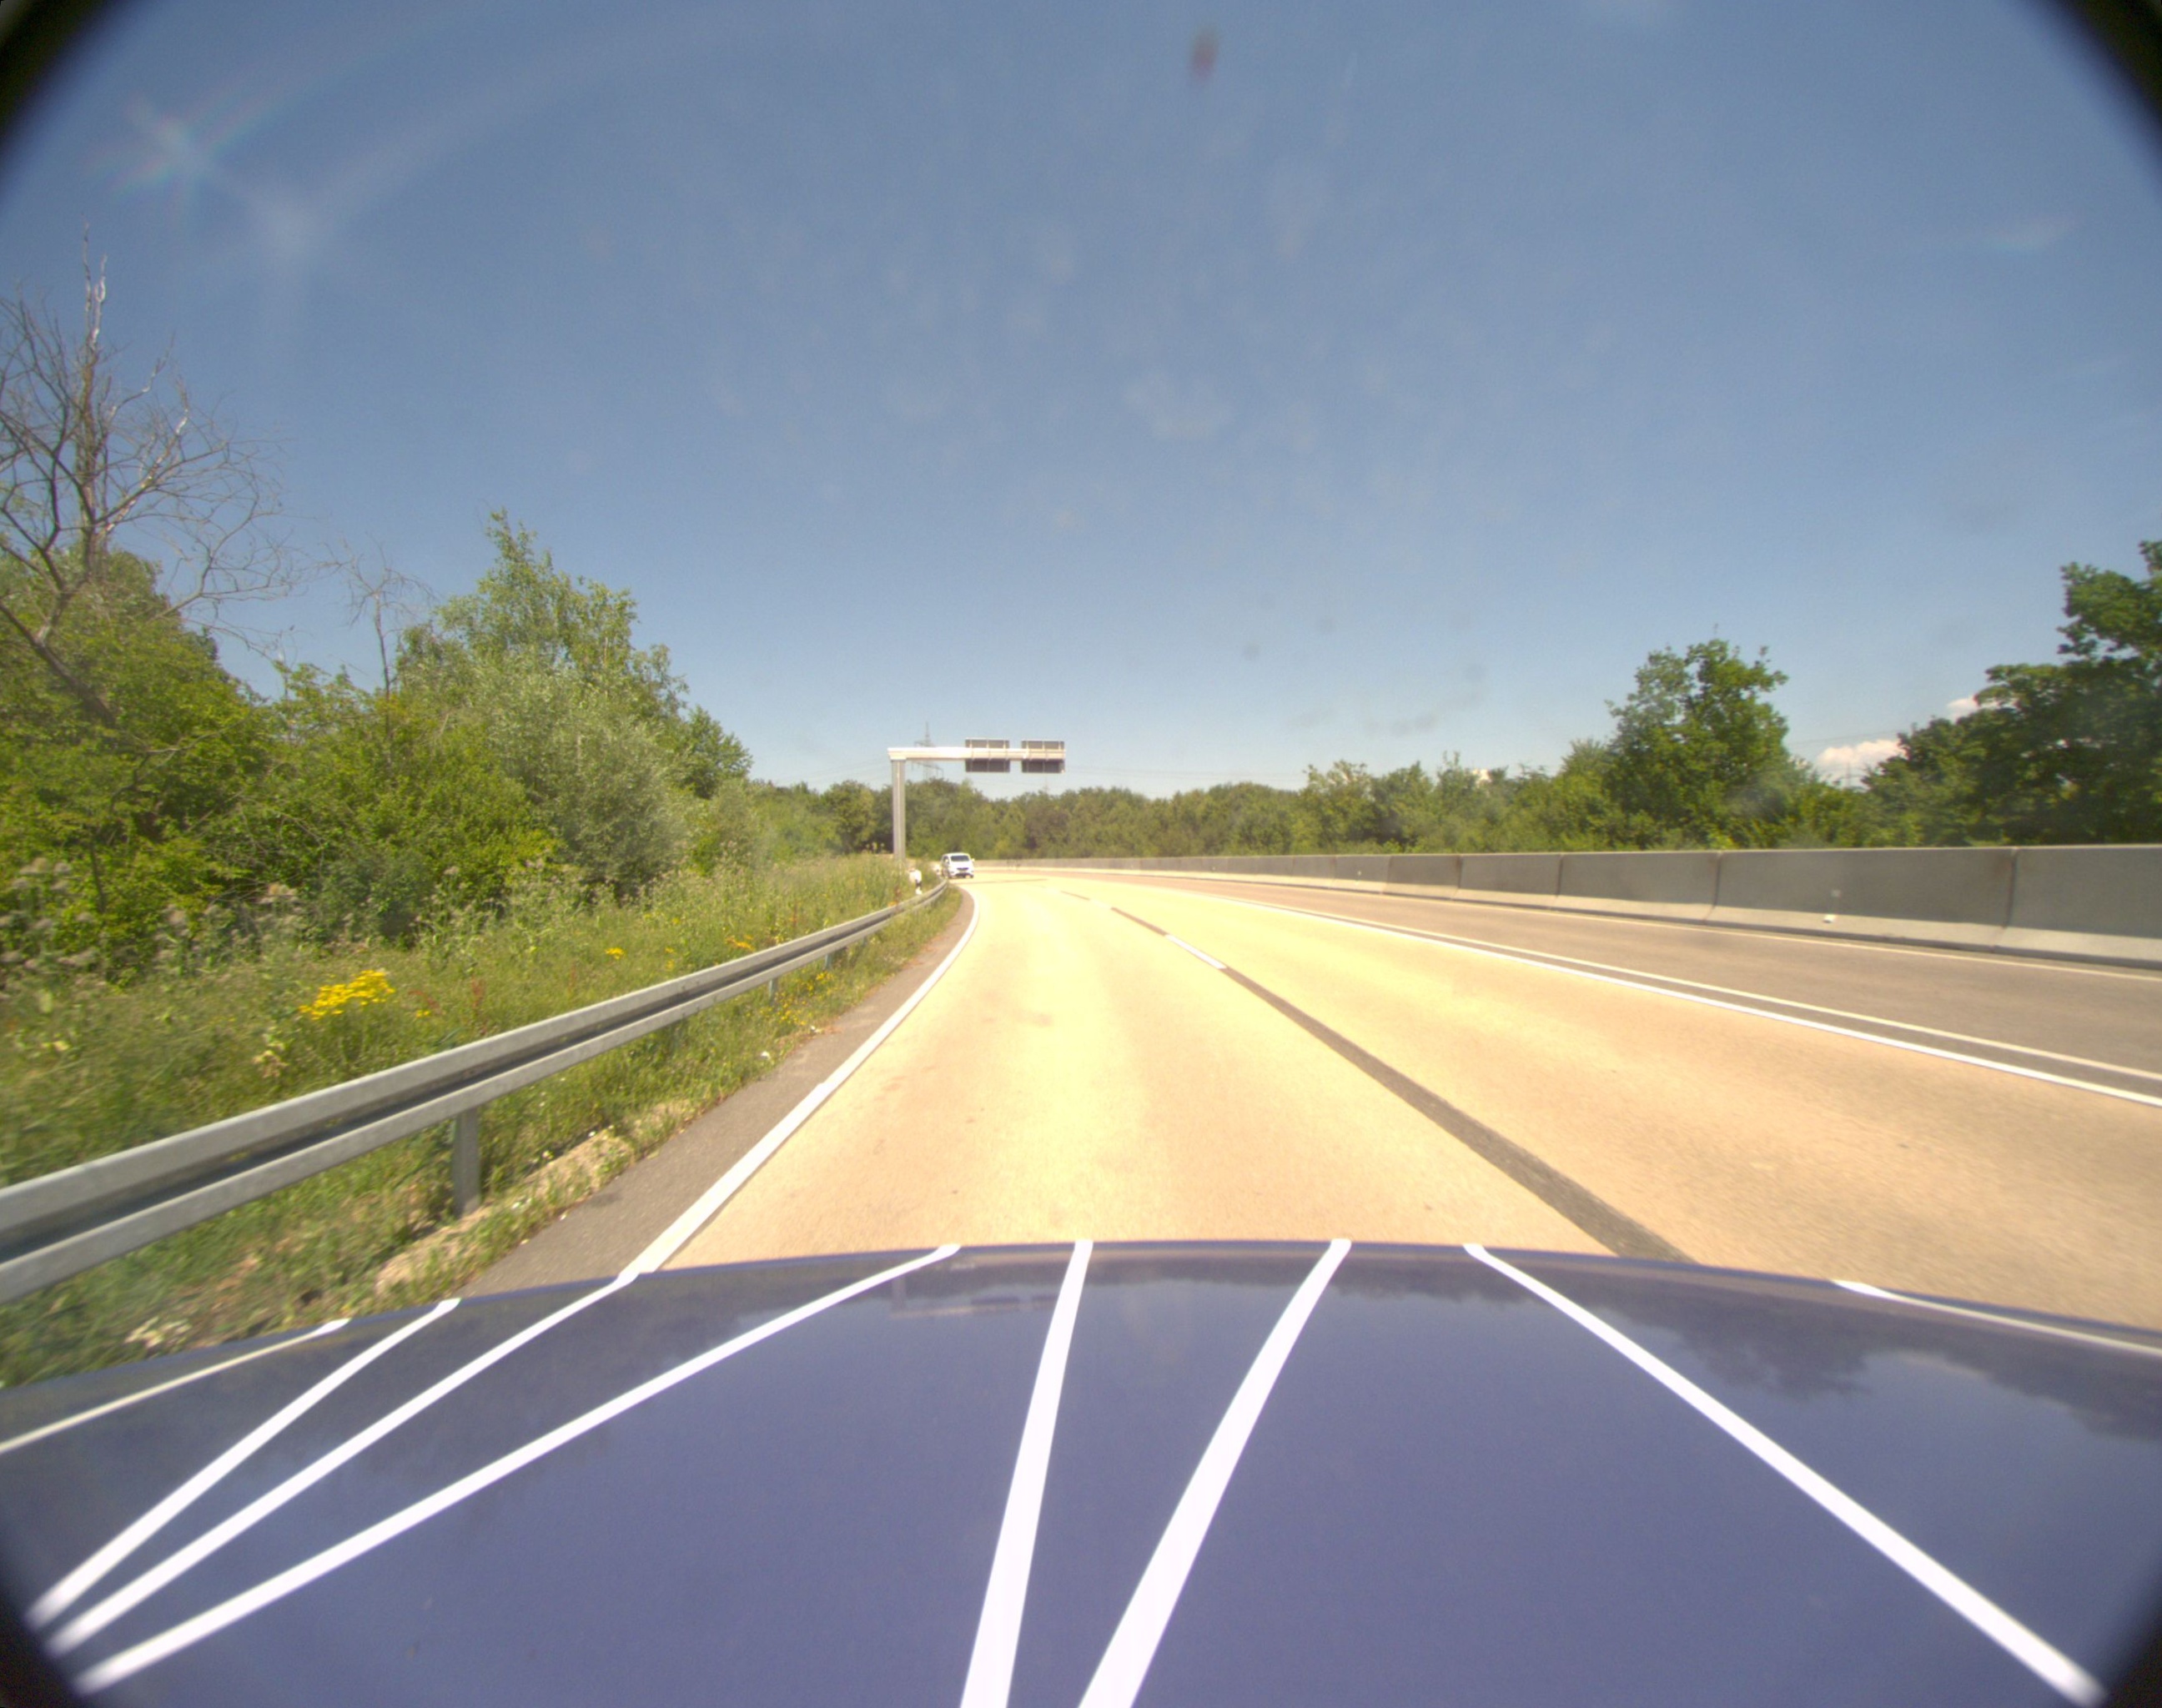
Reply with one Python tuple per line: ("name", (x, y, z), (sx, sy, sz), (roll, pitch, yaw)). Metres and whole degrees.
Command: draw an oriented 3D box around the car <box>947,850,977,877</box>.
("car", (-9.709, 0.740, 61.716), (2.064, 2.002, 5.036), (-3, 1, -12))
